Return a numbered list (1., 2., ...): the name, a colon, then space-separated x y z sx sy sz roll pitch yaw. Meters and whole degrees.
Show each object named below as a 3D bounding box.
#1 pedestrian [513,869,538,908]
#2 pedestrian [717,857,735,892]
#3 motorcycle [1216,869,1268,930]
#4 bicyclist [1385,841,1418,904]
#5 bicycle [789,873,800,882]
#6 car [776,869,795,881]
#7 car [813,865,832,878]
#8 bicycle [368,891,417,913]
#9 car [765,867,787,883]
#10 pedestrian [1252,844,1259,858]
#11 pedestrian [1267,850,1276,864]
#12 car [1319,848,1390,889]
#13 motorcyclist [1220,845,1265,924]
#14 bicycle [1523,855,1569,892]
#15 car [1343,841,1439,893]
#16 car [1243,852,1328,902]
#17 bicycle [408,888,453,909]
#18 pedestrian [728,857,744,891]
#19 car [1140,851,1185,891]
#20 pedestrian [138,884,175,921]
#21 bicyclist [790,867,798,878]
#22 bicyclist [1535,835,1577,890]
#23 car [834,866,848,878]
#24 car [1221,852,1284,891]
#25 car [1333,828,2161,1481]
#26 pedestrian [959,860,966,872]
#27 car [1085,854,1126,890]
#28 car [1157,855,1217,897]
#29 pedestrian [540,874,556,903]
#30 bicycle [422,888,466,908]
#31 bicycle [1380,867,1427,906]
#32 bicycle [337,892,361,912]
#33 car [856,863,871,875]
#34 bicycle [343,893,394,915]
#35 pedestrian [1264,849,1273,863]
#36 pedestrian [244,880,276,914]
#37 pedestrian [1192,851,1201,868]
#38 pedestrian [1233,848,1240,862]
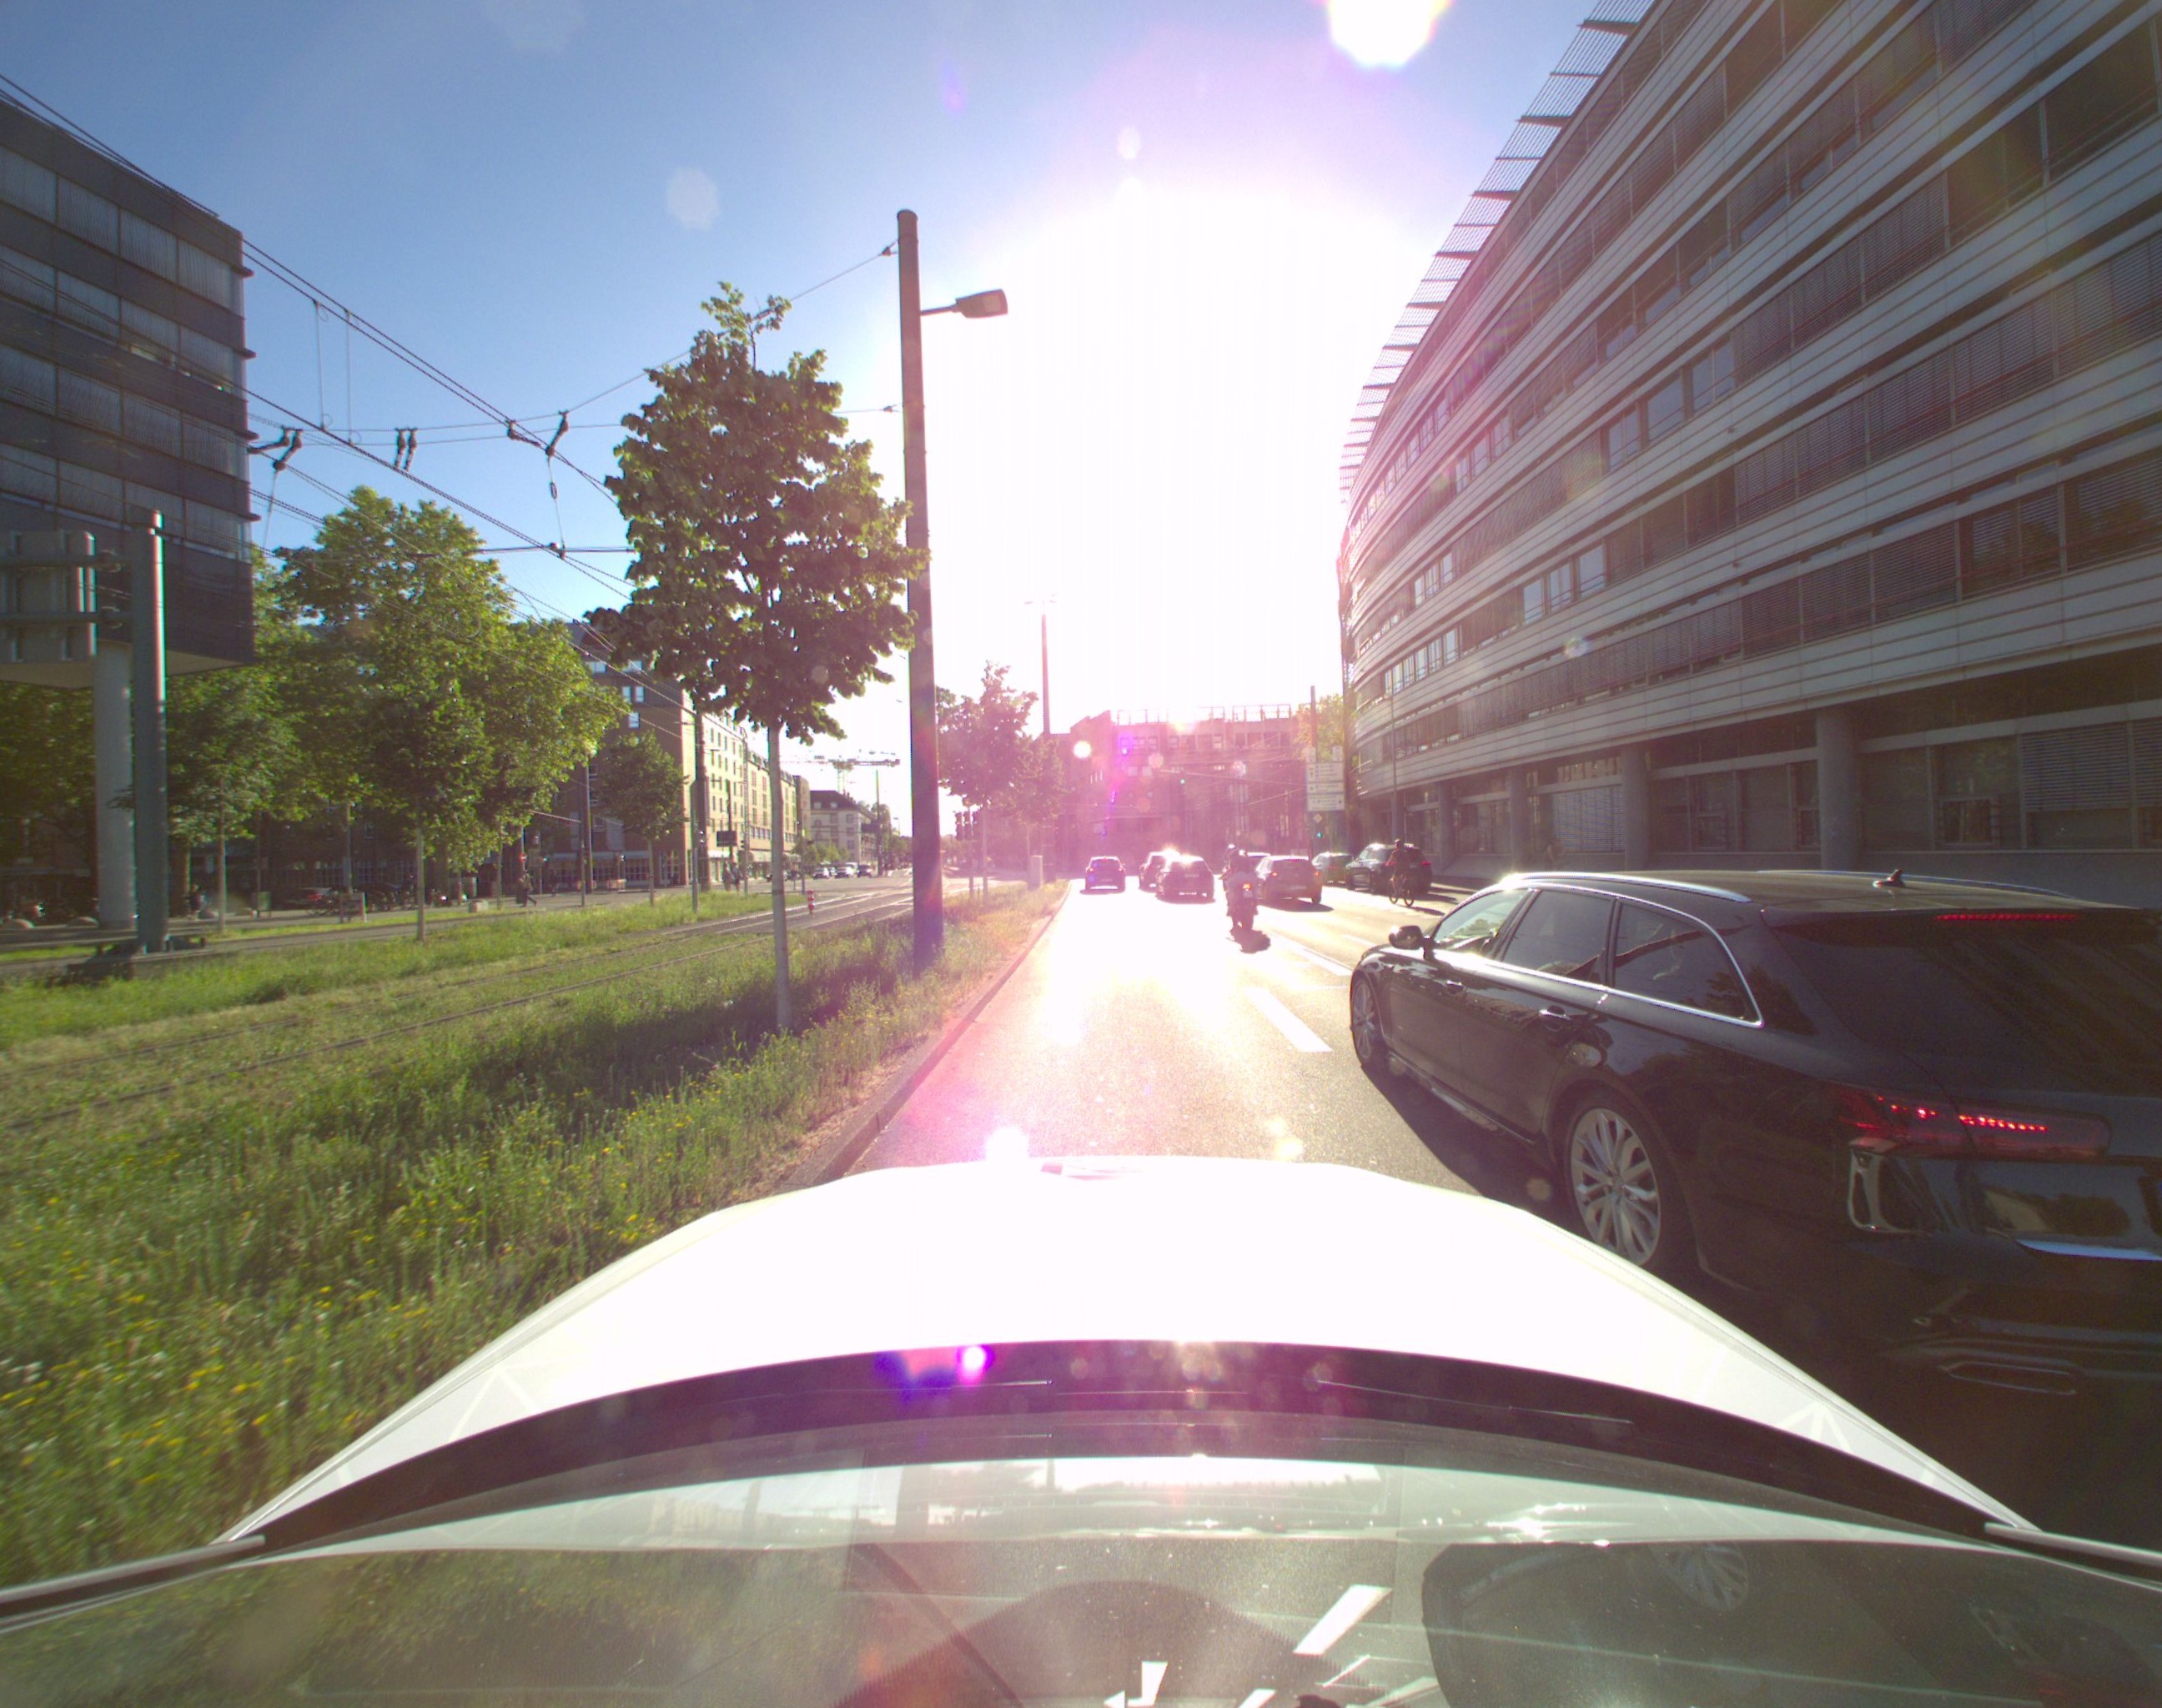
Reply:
1. pedestrian: -29.191 1.807 42.789 0.729 2.014 0.839 -1 -1 5
2. pedestrian: -18.591 1.057 42.703 0.630 1.830 0.661 -2 0 -6
3. motorcycle: 3.320 0.910 16.925 0.772 1.115 1.971 -2 0 4
4. bicyclist: 9.285 0.520 23.638 0.575 1.791 0.864 -2 0 1
5. bicycle: -35.806 2.893 101.688 0.649 1.085 2.919 -2 0 -7
6. car: -40.878 2.837 112.574 1.886 1.510 3.983 -2 0 -12
7. car: -34.298 2.255 108.154 1.995 1.596 4.718 -2 0 -12
8. bicycle: -34.129 2.369 40.385 1.775 0.951 0.537 -2 0 -26
9. car: -39.430 2.695 105.312 1.995 2.013 3.983 -2 0 -12
10. pedestrian: 20.879 -0.342 97.652 0.734 1.617 0.562 -2 0 9
11. pedestrian: 22.738 0.370 97.272 0.895 1.617 0.562 -2 0 9
12. car: 11.744 0.594 35.252 1.984 1.651 4.006 -2 0 5
13. motorcyclist: 3.286 0.606 16.617 0.741 1.530 1.022 -2 0 5
14. bicycle: 14.122 0.578 24.774 0.502 1.058 1.704 -4 -1 5
15. car: 11.454 0.457 30.431 1.986 1.750 4.330 -2 0 2
16. car: 6.427 0.685 26.013 1.800 1.457 4.002 -1 0 2
17. bicycle: -33.617 2.295 42.117 1.763 0.951 0.540 -2 0 -7
18. pedestrian: -18.562 1.078 43.815 0.562 1.817 0.661 -2 0 -6
19. car: 3.602 0.730 36.696 1.730 1.651 4.002 -2 0 2
20. pedestrian: -42.692 2.221 37.615 0.729 1.645 0.839 -2 0 5
21. bicyclist: -35.679 2.308 101.158 0.756 1.375 0.948 -2 0 -7
22. bicyclist: 14.462 0.260 24.834 0.681 1.618 0.992 -2 0 3
23. car: -31.788 2.351 108.007 1.749 1.505 3.859 -2 0 -16
24. car: 6.859 0.665 32.910 1.800 1.457 4.002 -1 0 2
25. car: 2.794 0.687 4.109 1.804 1.492 4.498 0 0 2
26. pedestrian: -16.370 1.658 112.435 0.743 1.640 0.764 -2 0 -13
27. car: 1.076 0.754 35.639 1.643 1.433 4.002 -2 0 2
28. car: 3.744 0.749 29.333 1.730 1.349 4.002 -2 0 2
29. pedestrian: -38.459 2.494 58.794 0.663 2.013 0.678 -2 0 1
30. bicycle: -33.582 2.298 42.930 1.763 0.951 0.540 -2 0 -7
31. bicycle: 9.298 0.916 23.591 0.490 0.997 2.329 -2 0 2
32. bicycle: -36.136 2.366 40.195 1.748 0.951 0.545 -2 0 37
33. car: -28.712 1.909 107.336 1.749 1.505 3.859 -2 0 -16
34. bicycle: -34.117 2.398 39.029 1.768 0.951 0.538 -2 0 -15
35. pedestrian: 22.146 0.207 96.198 0.895 1.617 0.562 -2 0 9
36. pedestrian: -40.384 2.111 40.065 0.729 1.597 0.839 -1 -1 5
37. pedestrian: 12.036 0.550 84.944 0.700 1.759 0.564 -2 0 26
38. pedestrian: 15.644 0.093 81.859 0.528 1.430 0.598 -2 0 0
